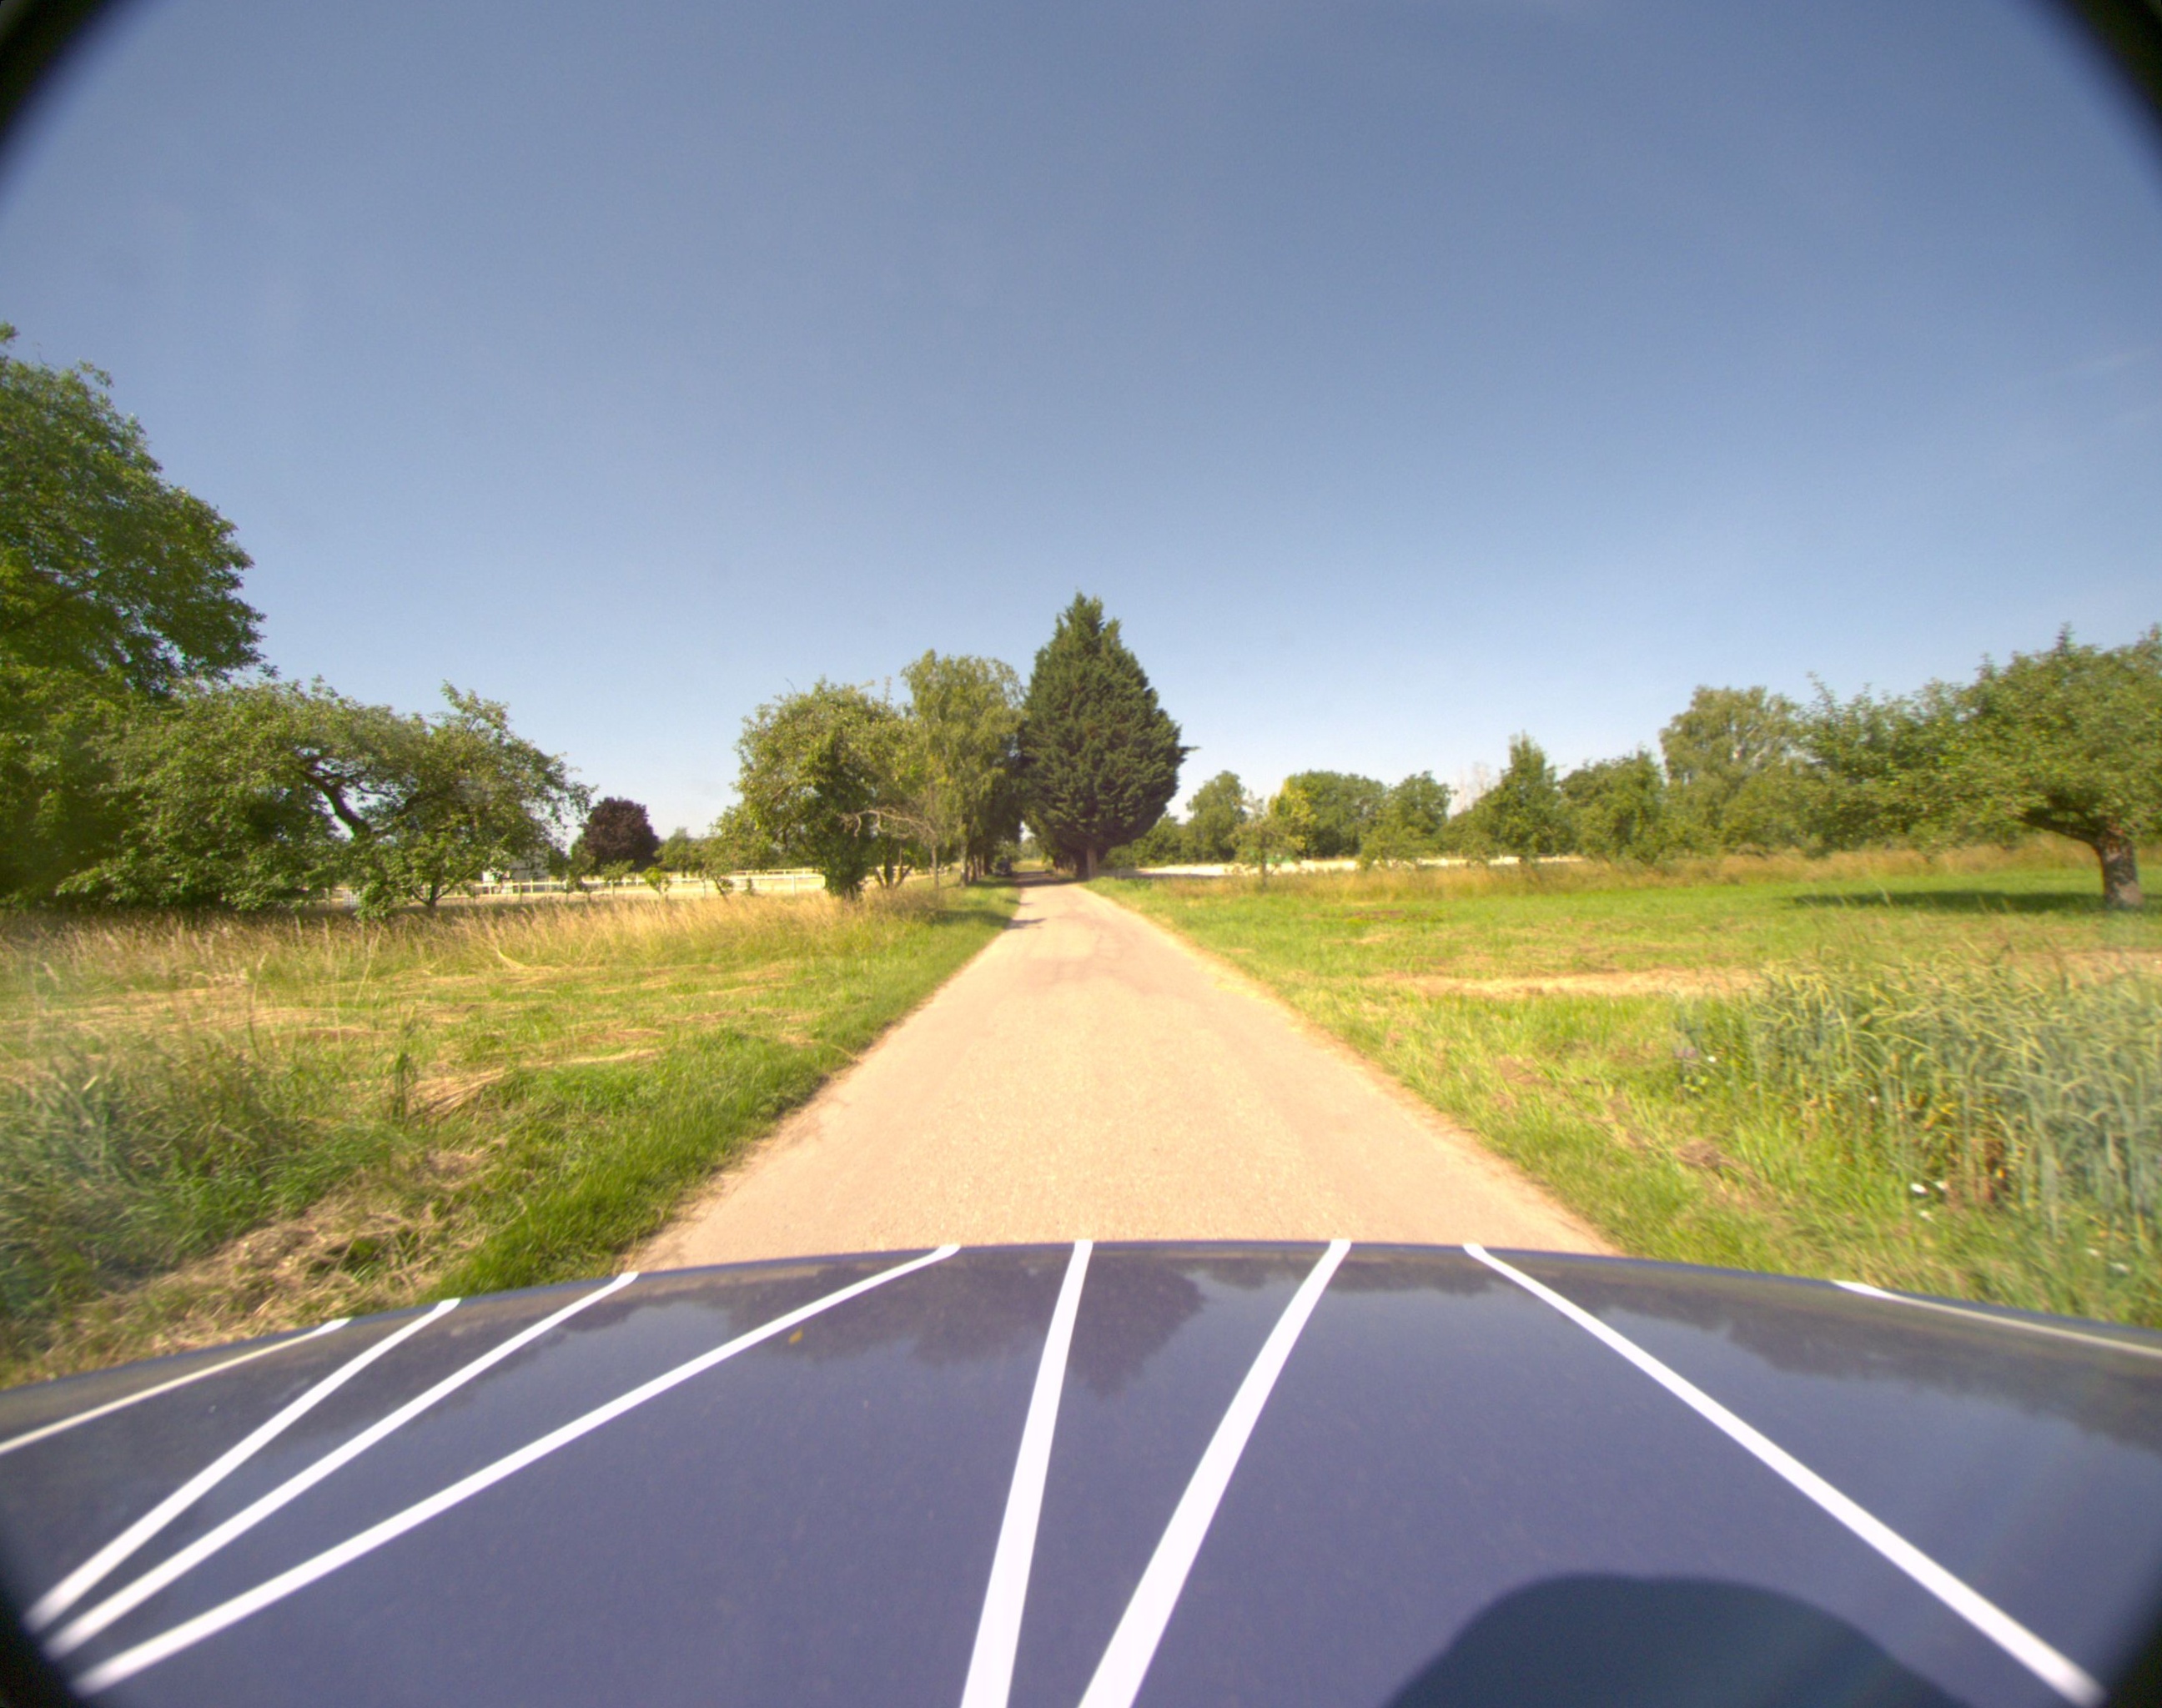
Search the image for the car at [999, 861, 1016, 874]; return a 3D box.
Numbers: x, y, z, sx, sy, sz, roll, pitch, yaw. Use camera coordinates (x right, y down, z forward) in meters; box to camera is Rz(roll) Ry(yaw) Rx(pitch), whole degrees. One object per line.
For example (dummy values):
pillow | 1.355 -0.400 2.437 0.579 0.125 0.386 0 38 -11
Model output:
car | -7.989 1.462 82.071 1.722 1.312 3.741 -2 0 -6
